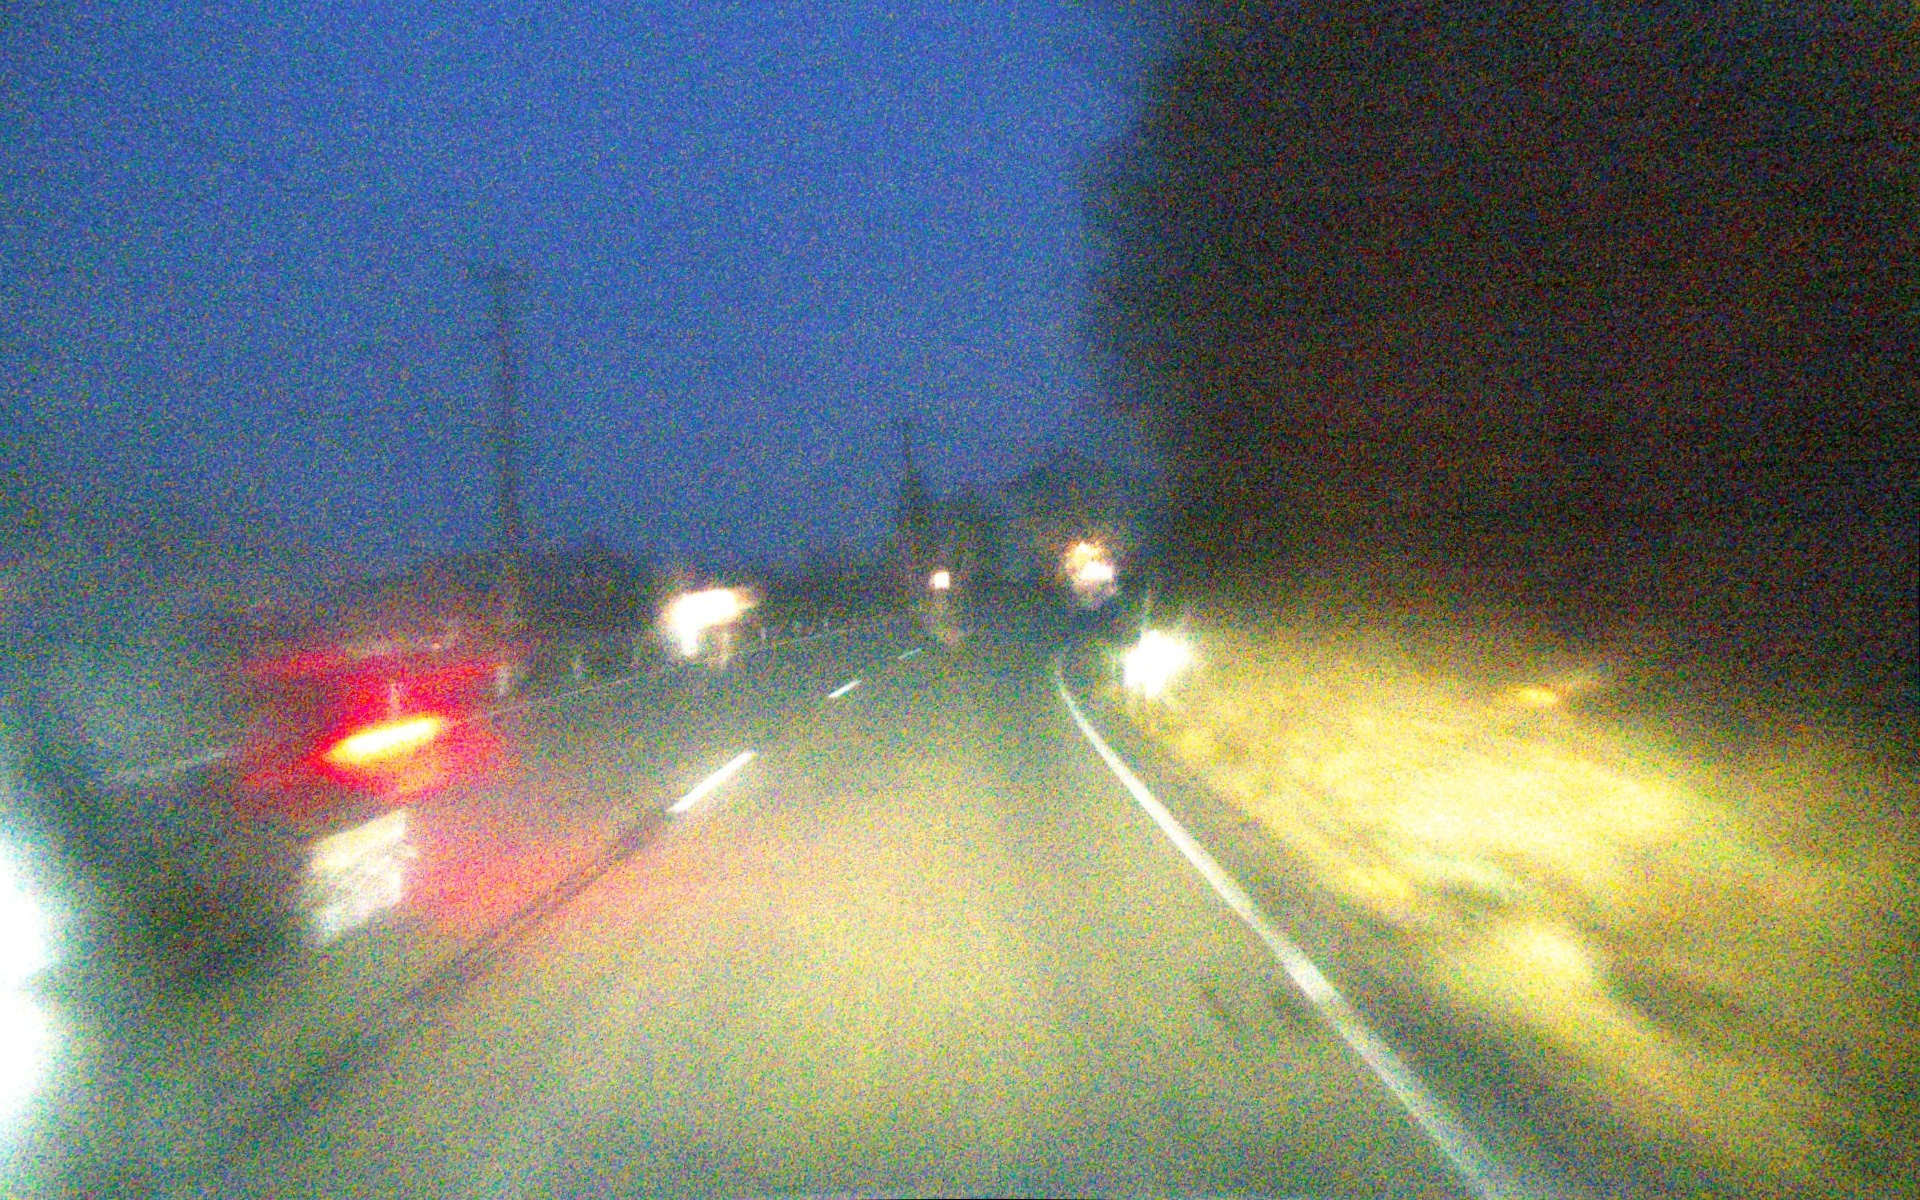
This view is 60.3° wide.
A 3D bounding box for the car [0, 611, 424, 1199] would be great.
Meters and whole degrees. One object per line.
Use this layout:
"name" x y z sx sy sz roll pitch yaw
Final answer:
"car" -3.313 0.763 5.244 1.953 1.436 3.999 1 0 -1
